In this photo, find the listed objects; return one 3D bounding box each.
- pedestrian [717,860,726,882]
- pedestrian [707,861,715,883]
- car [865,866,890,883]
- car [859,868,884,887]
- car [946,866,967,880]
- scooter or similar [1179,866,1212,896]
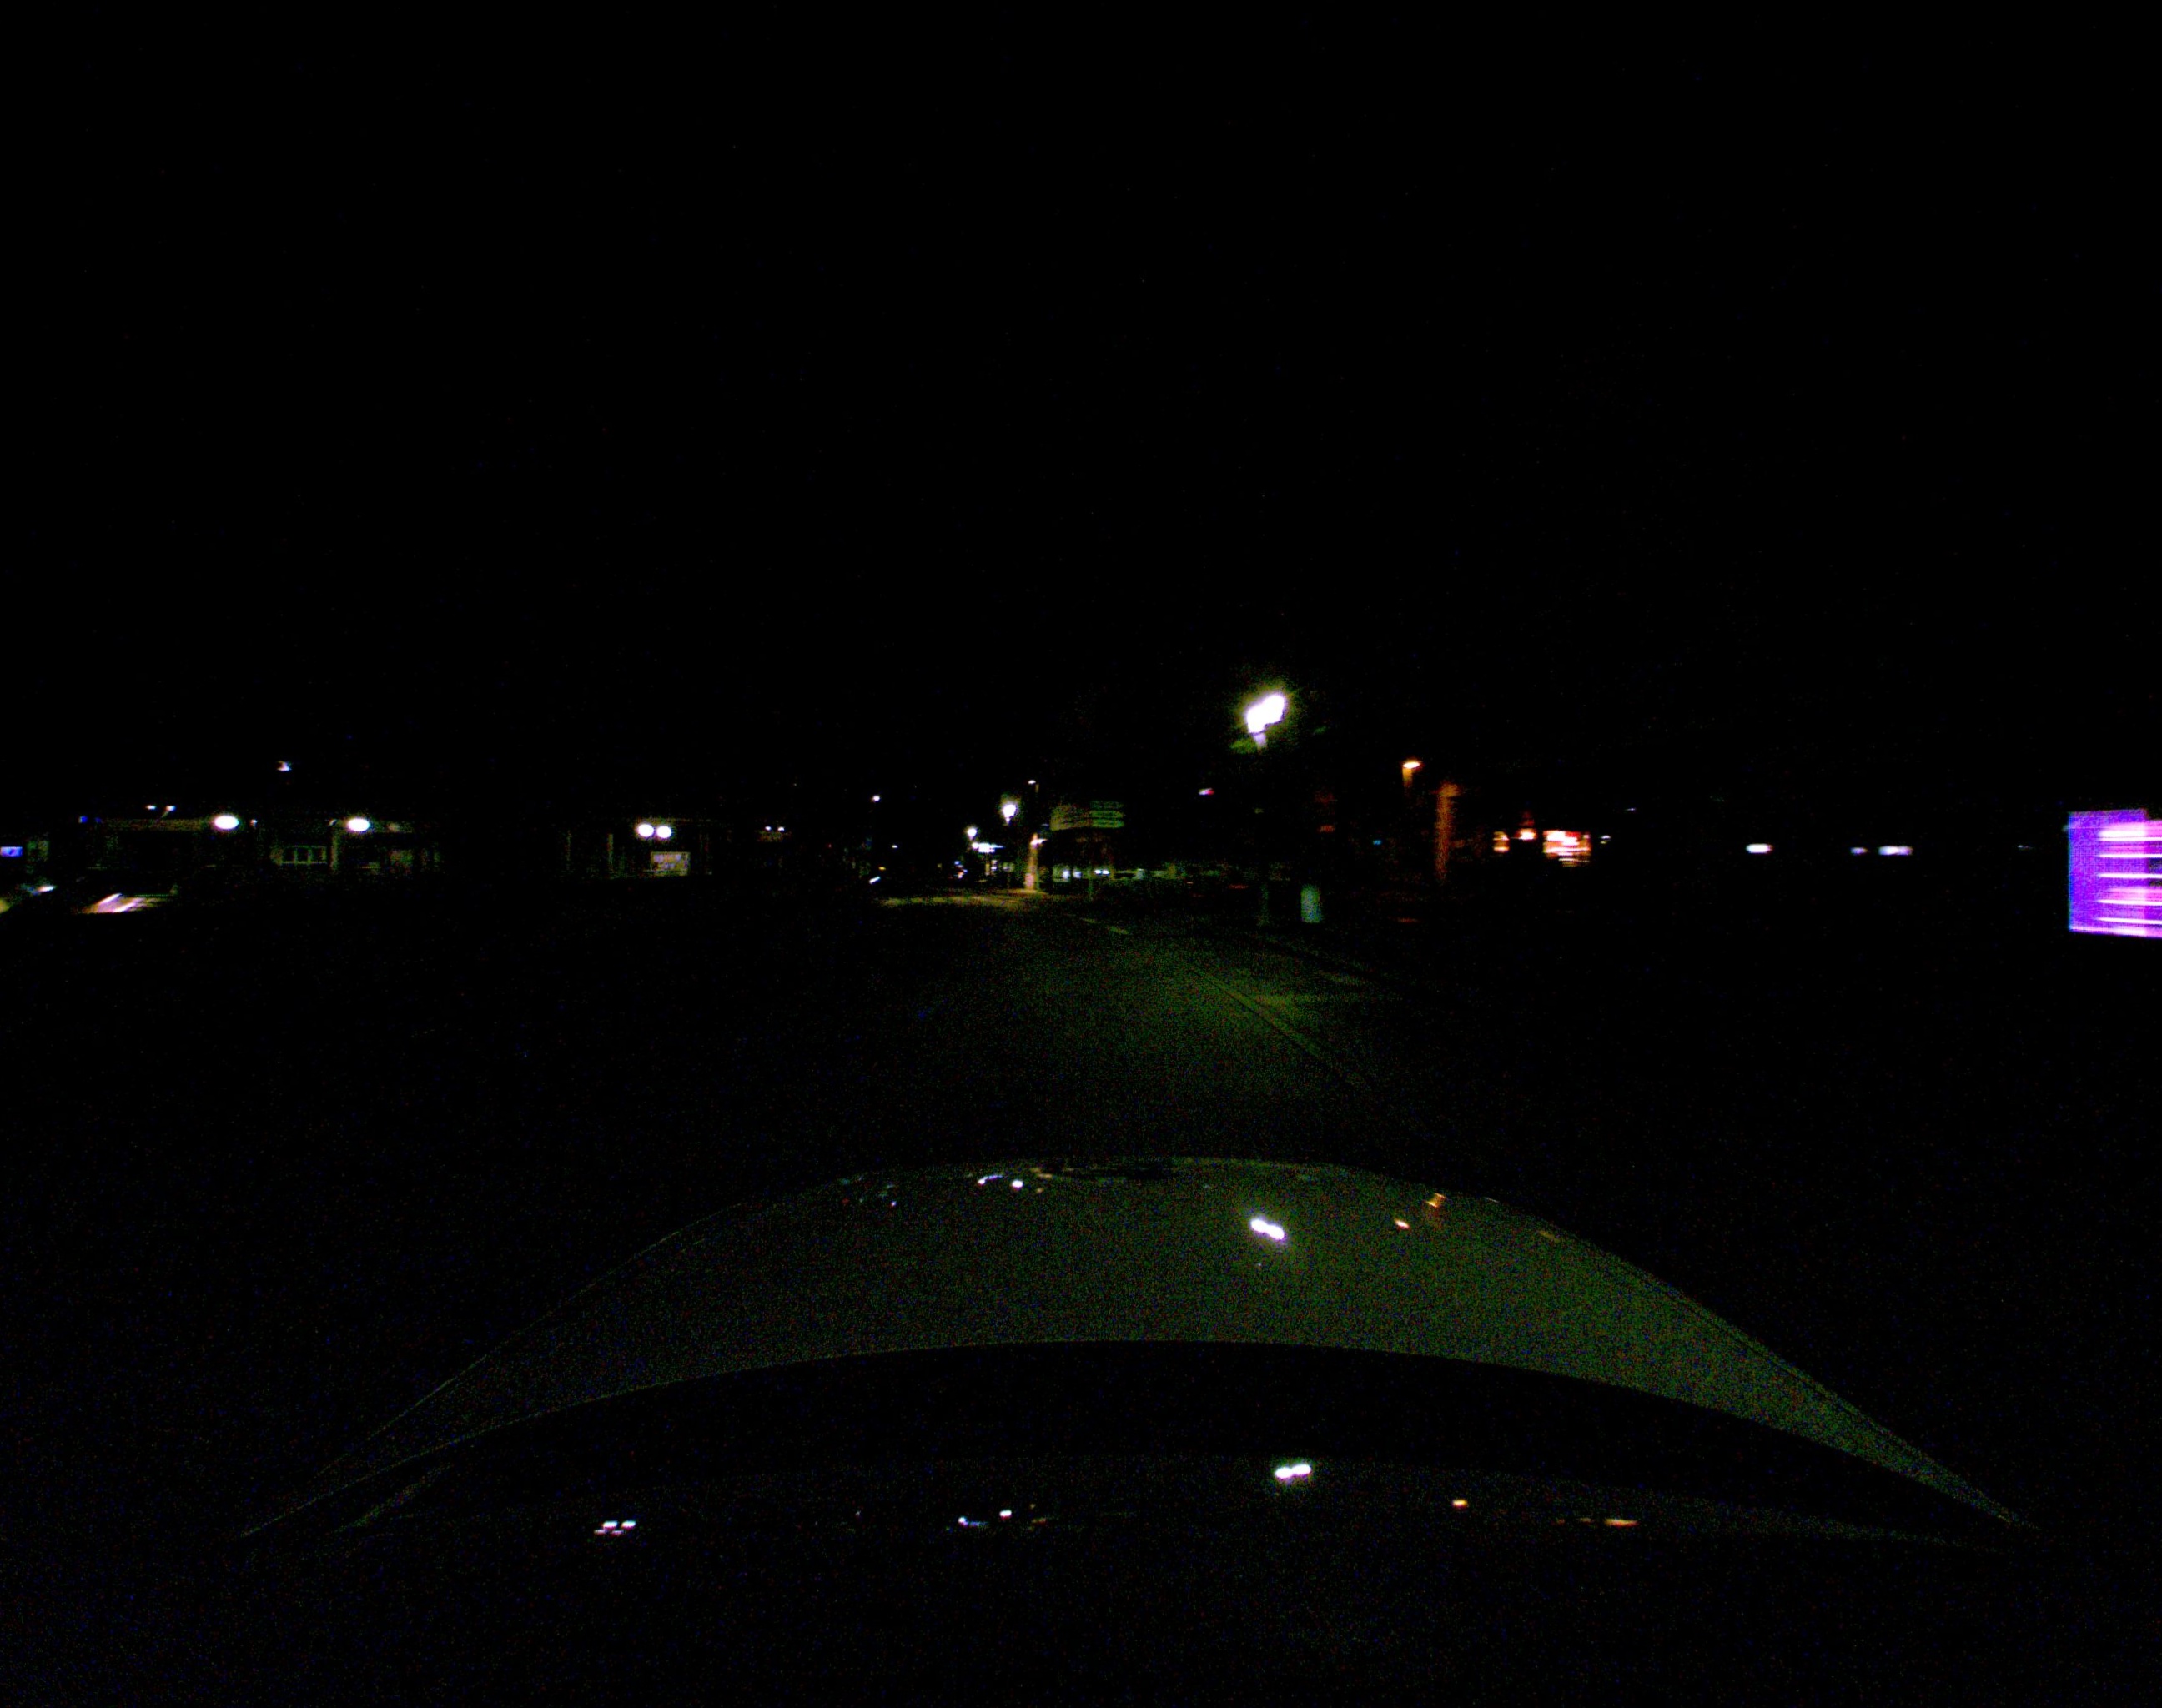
[{"bbox_3d":[-25.857,1.242,58.612,0.529,1.546,0.507,-1,0,-22],"label":"pedestrian"},{"bbox_3d":[-26.592,1.279,58.514,0.460,1.546,0.478,-1,0,-20],"label":"pedestrian"},{"bbox_3d":[-19.070,1.907,76.257,1.840,1.453,3.974,-1,0,-20],"label":"car"},{"bbox_3d":[-16.919,1.894,65.771,1.836,1.453,3.981,-1,-1,-13],"label":"car"},{"bbox_3d":[-13.334,2.027,86.816,1.836,1.358,3.981,-1,0,-14],"label":"car"},{"bbox_3d":[4.793,1.136,34.051,1.245,1.227,0.597,1,0,-7],"label":"scooter or similar"}]
